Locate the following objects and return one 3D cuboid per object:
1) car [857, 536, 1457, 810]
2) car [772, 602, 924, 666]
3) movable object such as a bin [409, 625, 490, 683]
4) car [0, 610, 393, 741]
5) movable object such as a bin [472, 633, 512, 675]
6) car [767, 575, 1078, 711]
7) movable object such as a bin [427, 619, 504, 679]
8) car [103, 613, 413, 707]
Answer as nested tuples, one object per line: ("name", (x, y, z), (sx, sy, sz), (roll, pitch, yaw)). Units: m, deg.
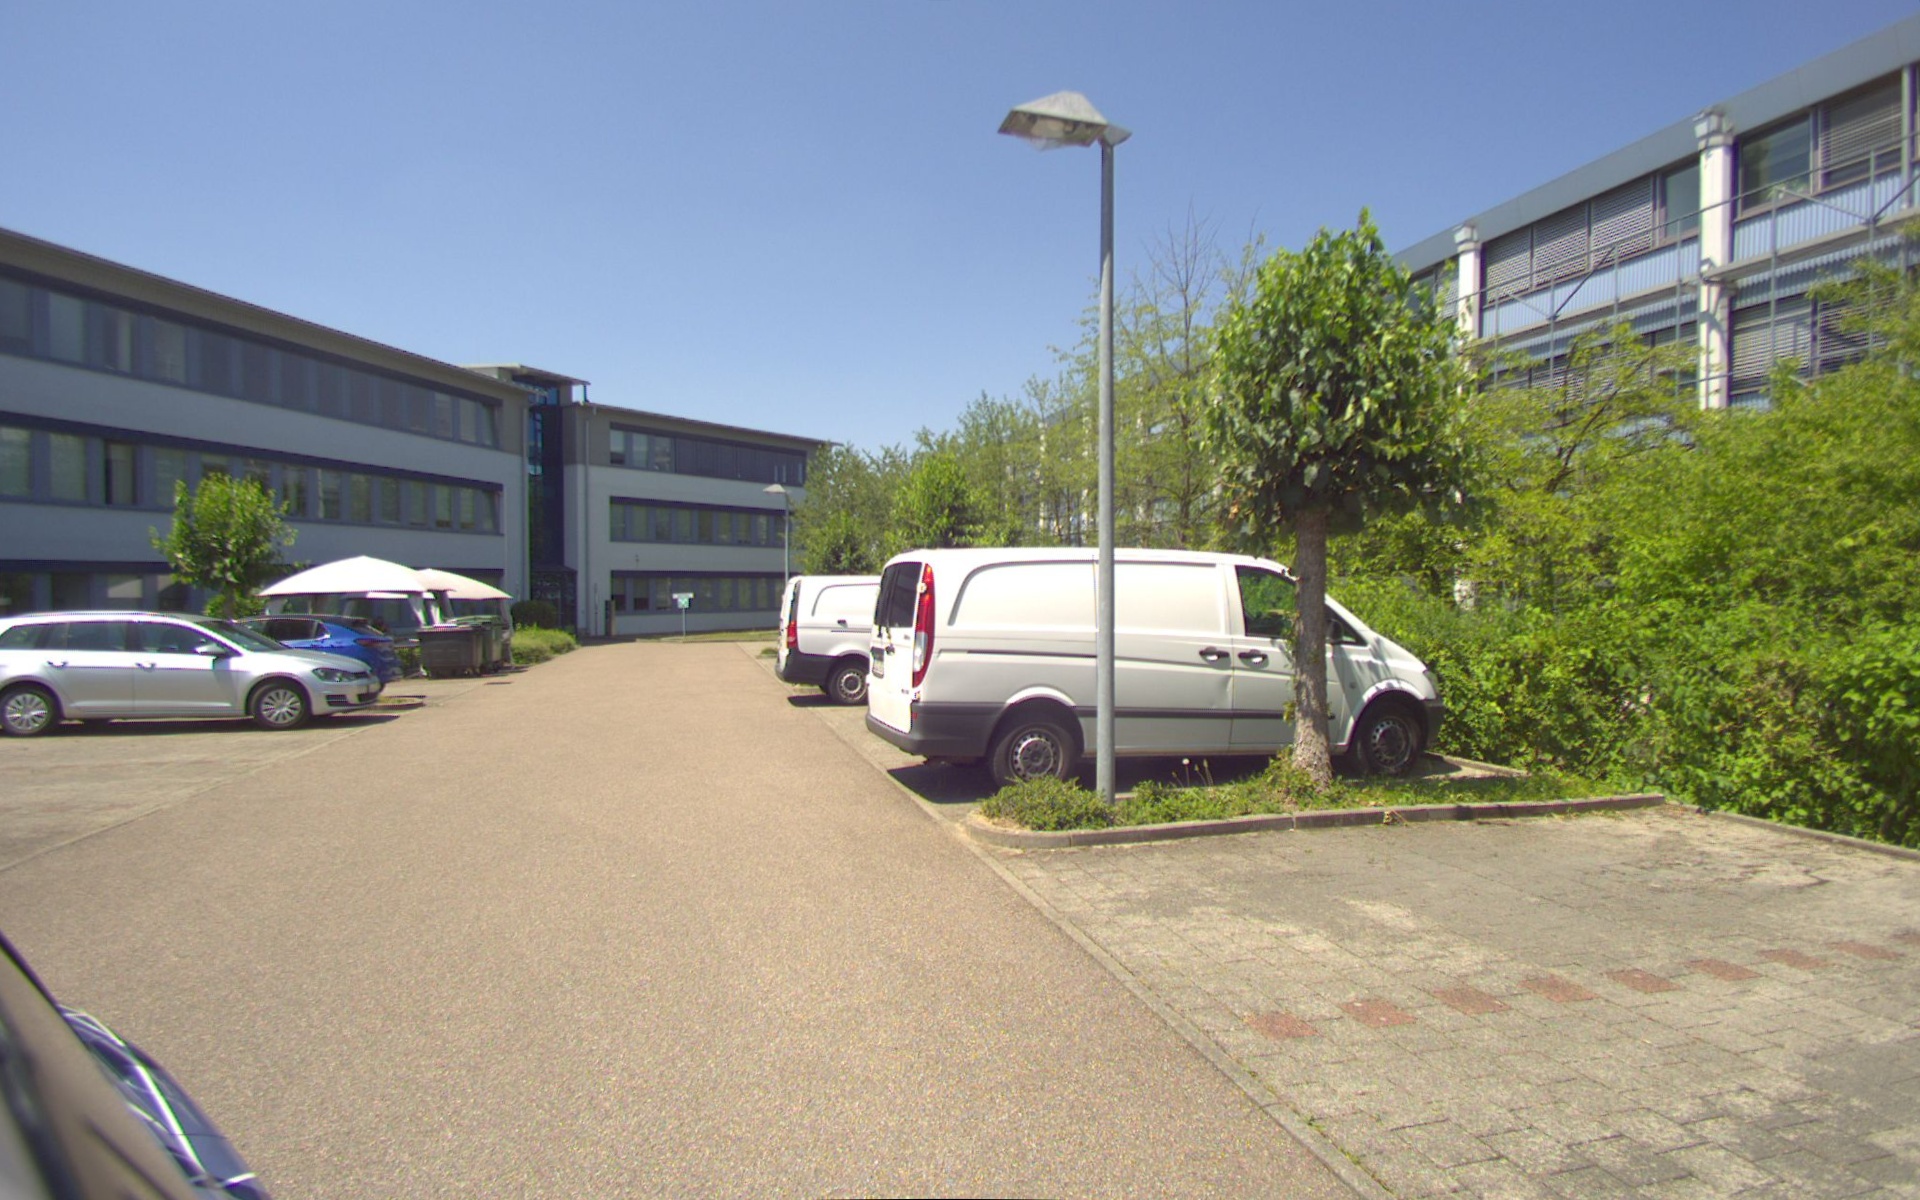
("car", (1.602, 0.502, 8.608), (4.655, 1.920, 1.835), (0, -1, -16))
("car", (-2.958, 0.868, 26.559), (3.701, 1.569, 1.666), (0, -1, -16))
("movable object such as a bin", (-11.054, 1.158, 21.974), (1.342, 1.198, 0.999), (-1, -1, -10))
("car", (-10.001, 0.898, 12.978), (4.443, 1.508, 1.834), (1, -1, -16))
("movable object such as a bin", (-11.082, 1.263, 23.977), (0.680, 0.956, 0.724), (-1, -1, -10))
("car", (-0.623, 0.592, 15.611), (4.444, 1.896, 1.834), (0, -1, -16))
("movable object such as a bin", (-11.225, 1.097, 23.031), (1.342, 1.306, 1.045), (-1, -1, -10))
("car", (-11.167, 0.941, 16.392), (3.762, 1.402, 1.657), (1, -1, -16))
